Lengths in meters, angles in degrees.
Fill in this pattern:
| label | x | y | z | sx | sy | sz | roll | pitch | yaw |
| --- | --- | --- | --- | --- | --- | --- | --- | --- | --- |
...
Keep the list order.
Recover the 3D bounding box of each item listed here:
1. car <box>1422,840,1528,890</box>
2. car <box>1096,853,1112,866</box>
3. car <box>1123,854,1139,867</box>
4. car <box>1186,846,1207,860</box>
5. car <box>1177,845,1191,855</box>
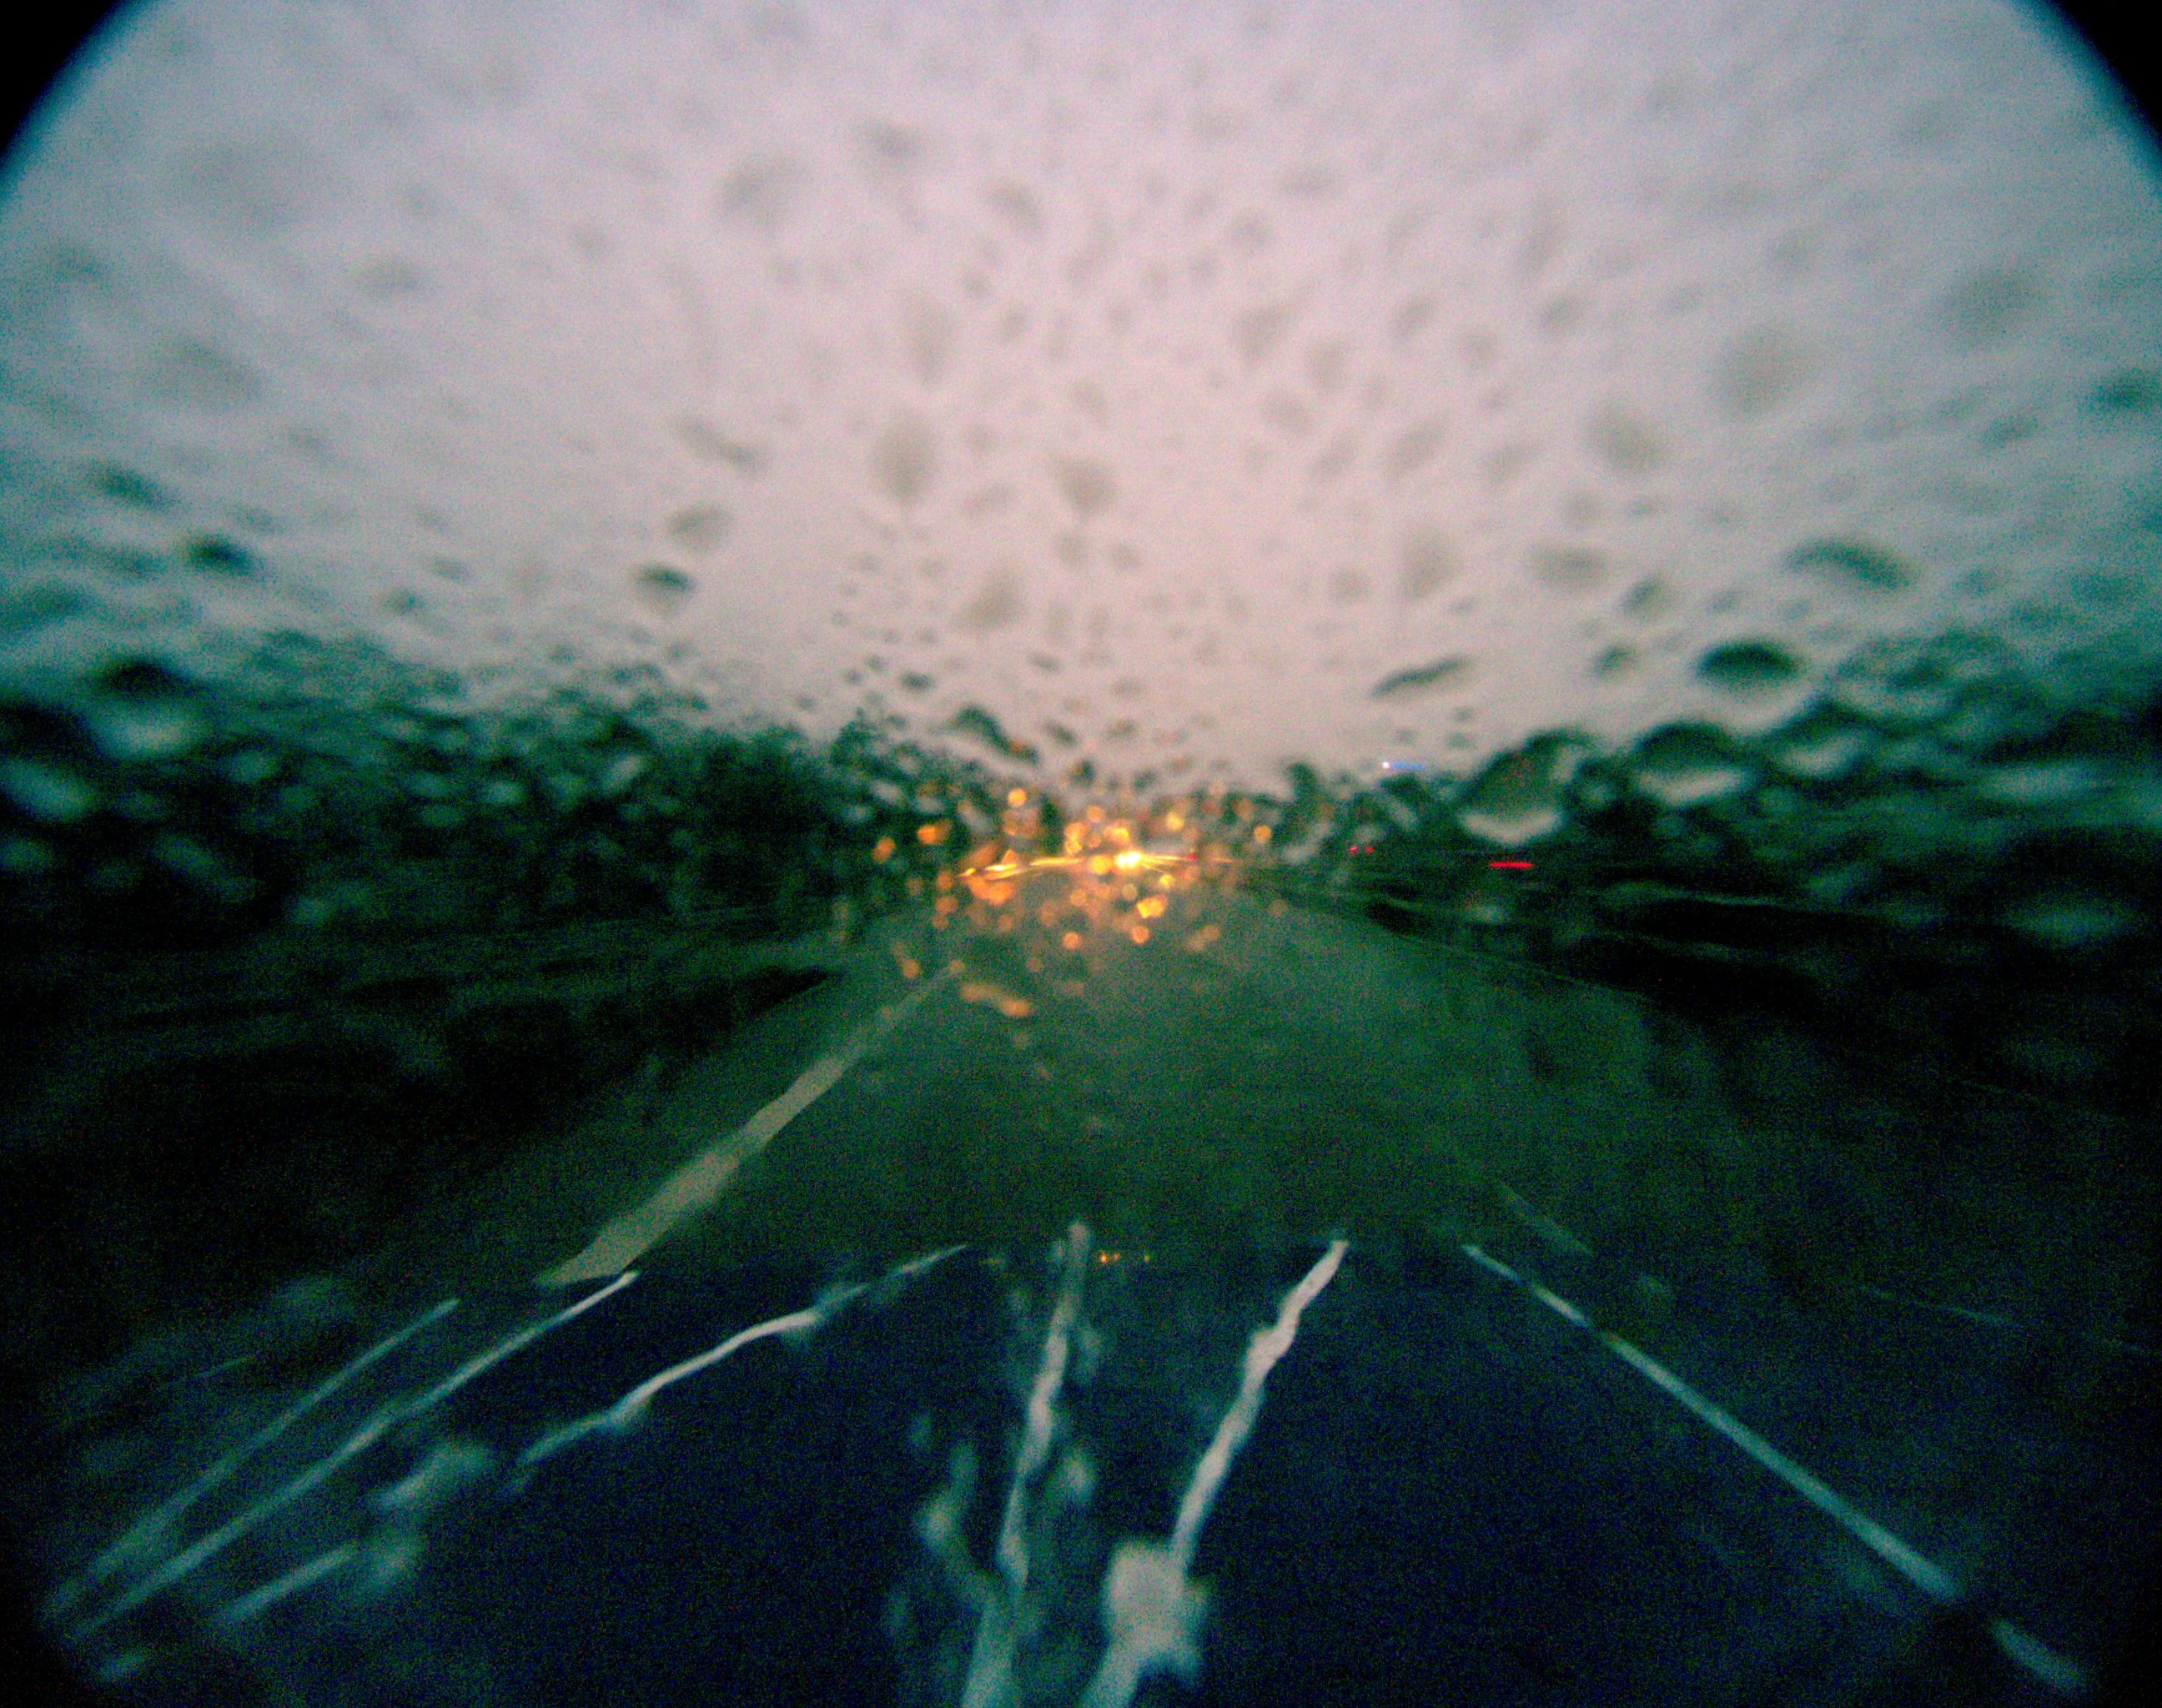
| label | x | y | z | sx | sy | sz | roll | pitch | yaw |
| --- | --- | --- | --- | --- | --- | --- | --- | --- | --- |
| car | 13.989 | 0.340 | 27.231 | 1.728 | 1.582 | 4.000 | -3 | 1 | 1 |
| car | 2.665 | 0.670 | 88.729 | 1.683 | 1.401 | 3.775 | -3 | 0 | 1 |
| car | 8.353 | 1.013 | 127.256 | 1.999 | 2.002 | 3.999 | -4 | 0 | -3 |
| car | 14.058 | -0.129 | 92.829 | 1.998 | 1.563 | 4.000 | -2 | 1 | 1 |
| car | 18.626 | -0.733 | 138.009 | 1.998 | 1.563 | 4.000 | -2 | 1 | 1 |
